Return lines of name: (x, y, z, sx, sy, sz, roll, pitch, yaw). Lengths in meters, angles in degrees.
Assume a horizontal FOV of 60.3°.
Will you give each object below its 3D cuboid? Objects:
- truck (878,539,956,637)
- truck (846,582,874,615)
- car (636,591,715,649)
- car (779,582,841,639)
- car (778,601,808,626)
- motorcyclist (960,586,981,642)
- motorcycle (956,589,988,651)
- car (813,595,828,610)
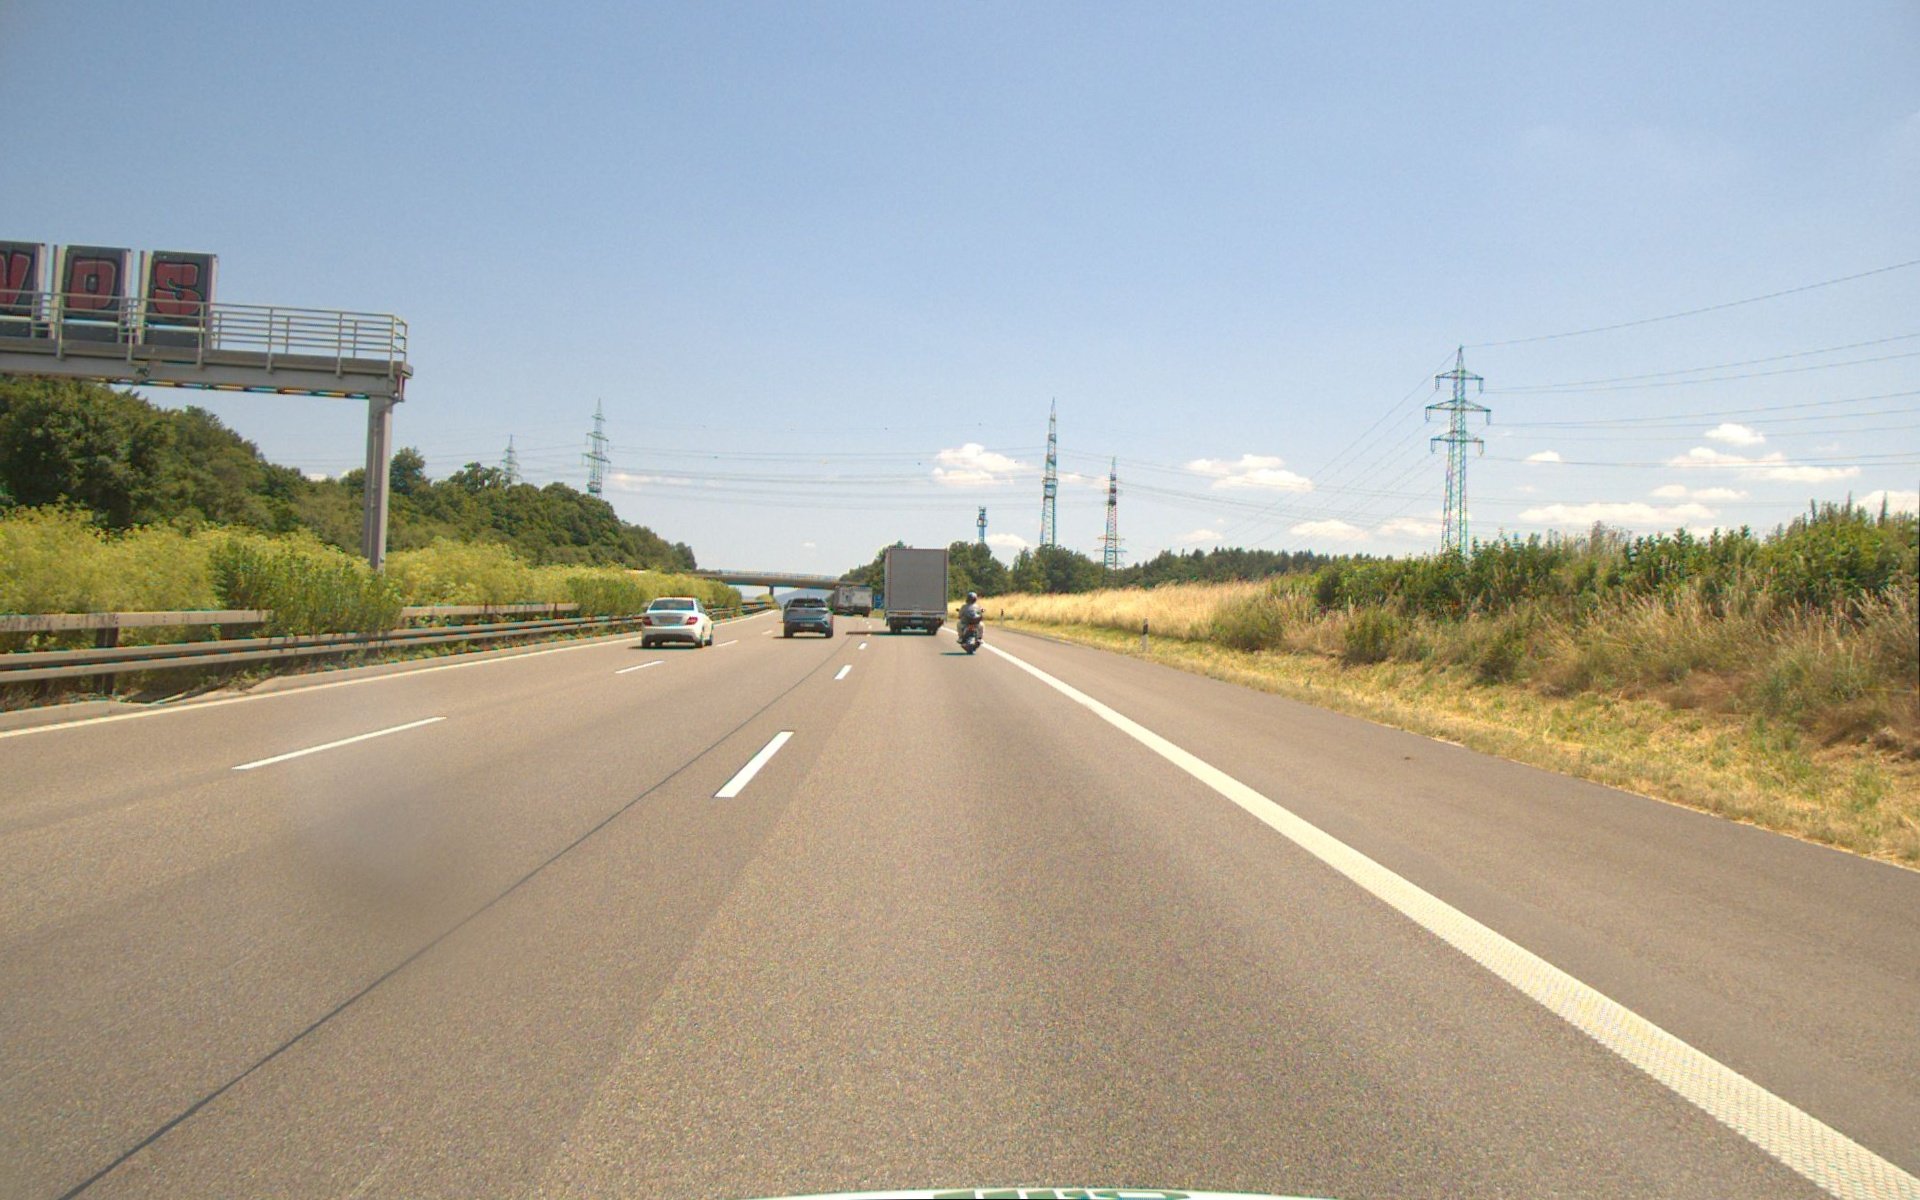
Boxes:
truck: (-1.844, -0.513, 72.231, 3.156, 3.993, 9.058, 0, 0, -1)
truck: (-12.653, -0.210, 208.114, 3.416, 3.981, 7.283, 0, 0, -4)
car: (-8.204, 0.544, 47.973, 1.783, 1.567, 3.913, 0, 1, -2)
car: (-5.524, 0.358, 61.397, 1.953, 2.049, 4.000, 0, 1, 0)
car: (-10.178, 0.797, 100.963, 1.722, 1.454, 3.997, 0, 1, -4)
motorcyclist: (0.281, 0.367, 45.023, 0.560, 1.505, 0.700, 0, 1, -2)
motorcycle: (0.324, 0.534, 45.092, 0.793, 1.635, 1.782, 0, 0, -1)
car: (-18.647, 0.337, 220.768, 1.864, 1.959, 3.997, 0, 1, -4)
